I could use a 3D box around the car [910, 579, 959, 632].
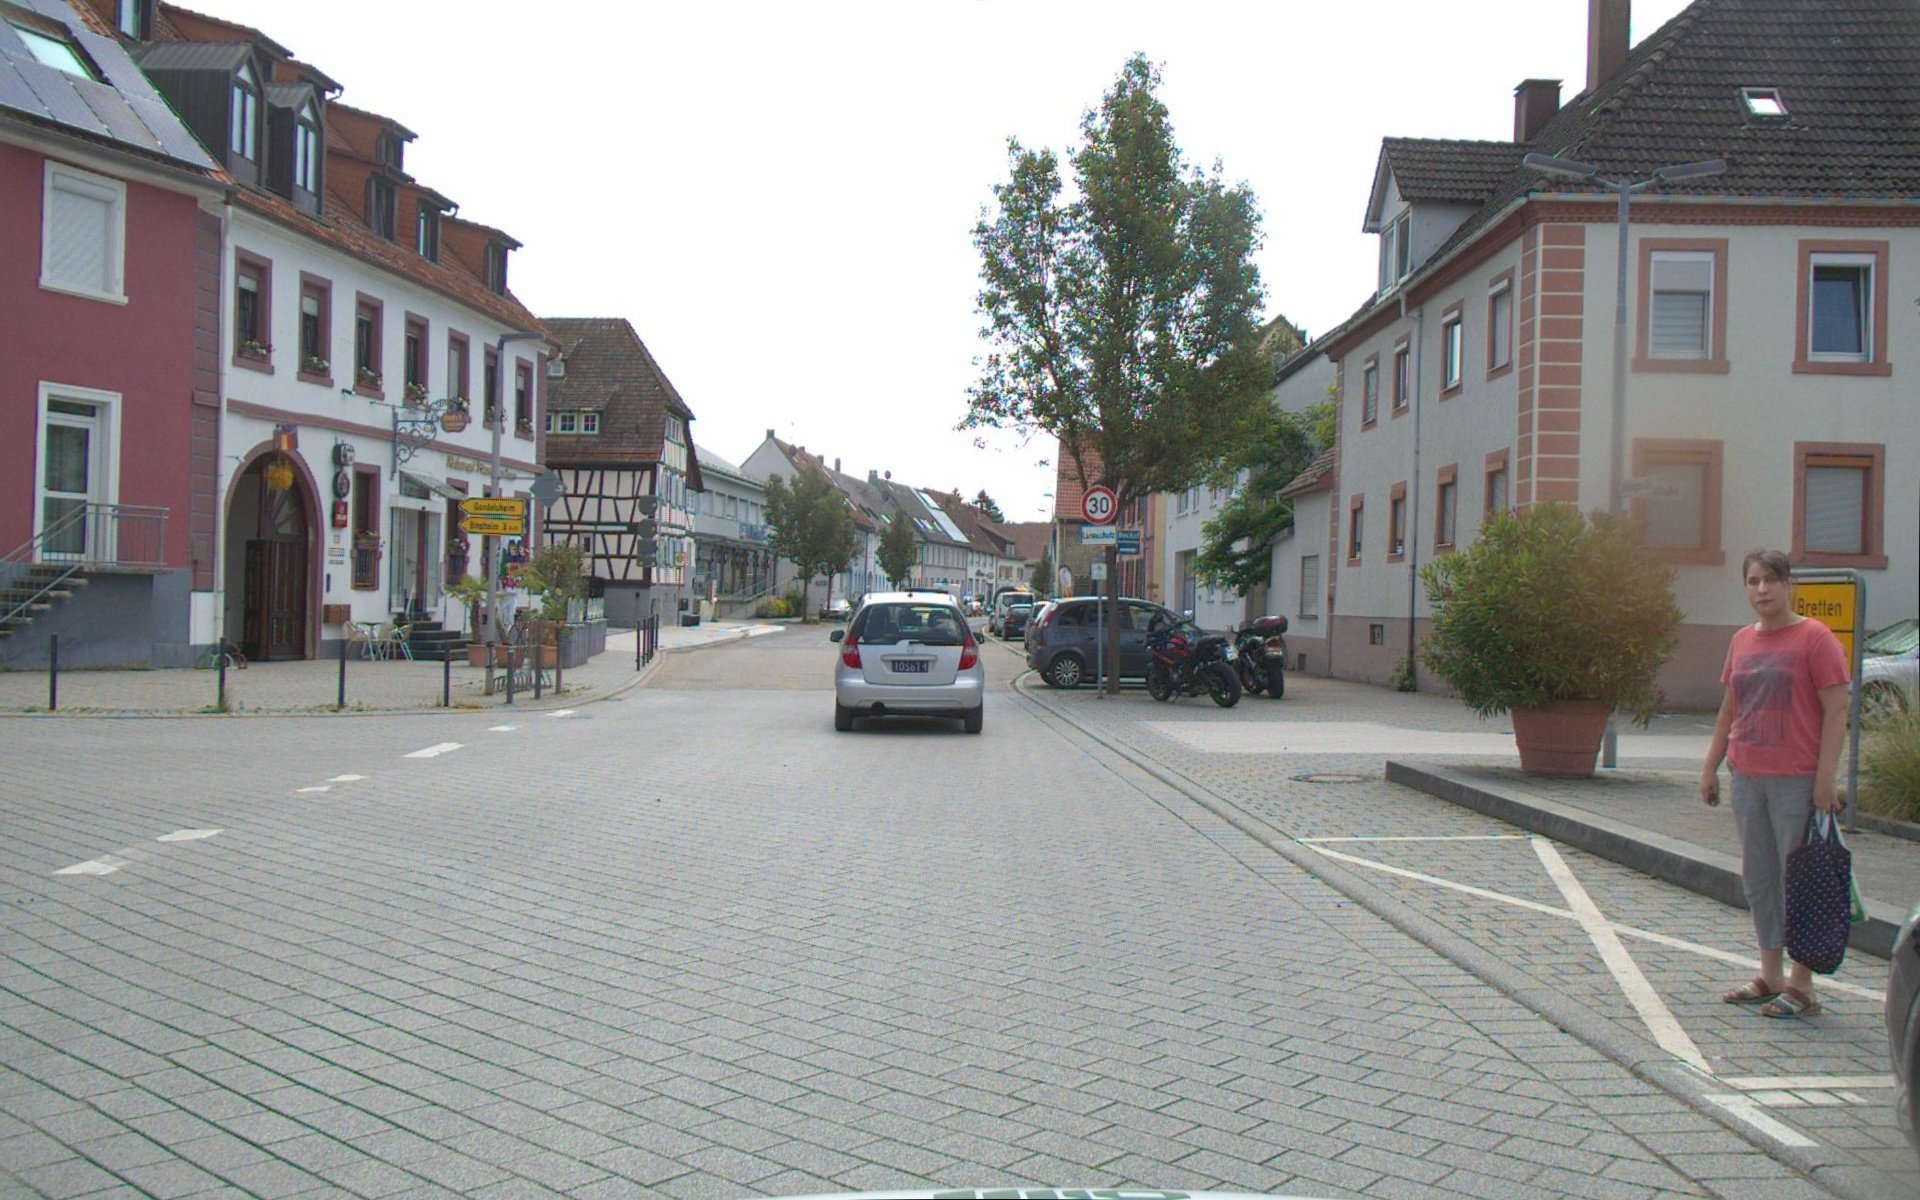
[{"bbox_3d":[-0.996,0.232,66.725,1.733,1.920,4.447,4,-1,1],"label":"car"}]

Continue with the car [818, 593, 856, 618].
[{"bbox_3d":[-7.802,0.328,105.430,1.766,1.486,4.160,2,0,4],"label":"car"}]

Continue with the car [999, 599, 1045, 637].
[{"bbox_3d":[2.588,0.734,69.947,1.738,1.521,4.161,1,0,0],"label":"car"}]

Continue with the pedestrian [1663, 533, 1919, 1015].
[{"bbox_3d":[3.015,0.601,6.044,0.625,1.657,0.620,1,0,2],"label":"pedestrian"}]

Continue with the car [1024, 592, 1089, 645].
[{"bbox_3d":[3.273,0.599,56.819,1.953,1.710,4.323,1,0,0],"label":"car"}]

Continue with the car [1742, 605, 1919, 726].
[{"bbox_3d":[12.640,0.850,21.701,3.909,1.499,1.826,1,0,5],"label":"car"}]

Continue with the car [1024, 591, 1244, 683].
[{"bbox_3d":[3.147,0.657,30.404,3.772,1.605,1.849,0,0,-4],"label":"car"}]

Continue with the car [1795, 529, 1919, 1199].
[{"bbox_3d":[2.998,0.617,2.090,1.732,1.592,4.419,-1,0,2],"label":"car"}]

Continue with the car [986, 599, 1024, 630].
[{"bbox_3d":[2.358,0.759,87.399,1.837,1.507,4.674,2,0,0],"label":"car"}]

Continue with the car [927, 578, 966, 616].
[{"bbox_3d":[-0.809,-0.168,102.105,2.189,2.261,4.001,0,-1,2],"label":"car"}]

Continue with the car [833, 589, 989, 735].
[{"bbox_3d":[-0.638,0.684,20.480,1.733,1.622,3.998,0,0,-3],"label":"car"}]

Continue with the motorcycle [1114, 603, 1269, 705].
[{"bbox_3d":[3.432,0.780,24.690,2.187,1.419,0.867,1,0,43],"label":"motorcycle"}]

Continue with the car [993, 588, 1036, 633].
[{"bbox_3d":[2.539,0.461,77.997,1.853,2.017,4.930,-1,0,0],"label":"car"}]

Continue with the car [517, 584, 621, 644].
[{"bbox_3d":[-11.270,0.383,47.987,1.722,1.518,4.277,5,0,2],"label":"car"}]

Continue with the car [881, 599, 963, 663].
[{"bbox_3d":[-0.916,0.730,41.118,1.905,1.432,3.999,1,0,-1],"label":"car"}]

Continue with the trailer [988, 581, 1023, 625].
[{"bbox_3d":[2.512,0.159,92.621,1.807,2.395,3.589,1,0,-1],"label":"trailer"}]

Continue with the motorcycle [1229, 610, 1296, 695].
[{"bbox_3d":[4.927,0.826,27.071,0.939,1.321,2.227,-1,0,7],"label":"motorcycle"}]
